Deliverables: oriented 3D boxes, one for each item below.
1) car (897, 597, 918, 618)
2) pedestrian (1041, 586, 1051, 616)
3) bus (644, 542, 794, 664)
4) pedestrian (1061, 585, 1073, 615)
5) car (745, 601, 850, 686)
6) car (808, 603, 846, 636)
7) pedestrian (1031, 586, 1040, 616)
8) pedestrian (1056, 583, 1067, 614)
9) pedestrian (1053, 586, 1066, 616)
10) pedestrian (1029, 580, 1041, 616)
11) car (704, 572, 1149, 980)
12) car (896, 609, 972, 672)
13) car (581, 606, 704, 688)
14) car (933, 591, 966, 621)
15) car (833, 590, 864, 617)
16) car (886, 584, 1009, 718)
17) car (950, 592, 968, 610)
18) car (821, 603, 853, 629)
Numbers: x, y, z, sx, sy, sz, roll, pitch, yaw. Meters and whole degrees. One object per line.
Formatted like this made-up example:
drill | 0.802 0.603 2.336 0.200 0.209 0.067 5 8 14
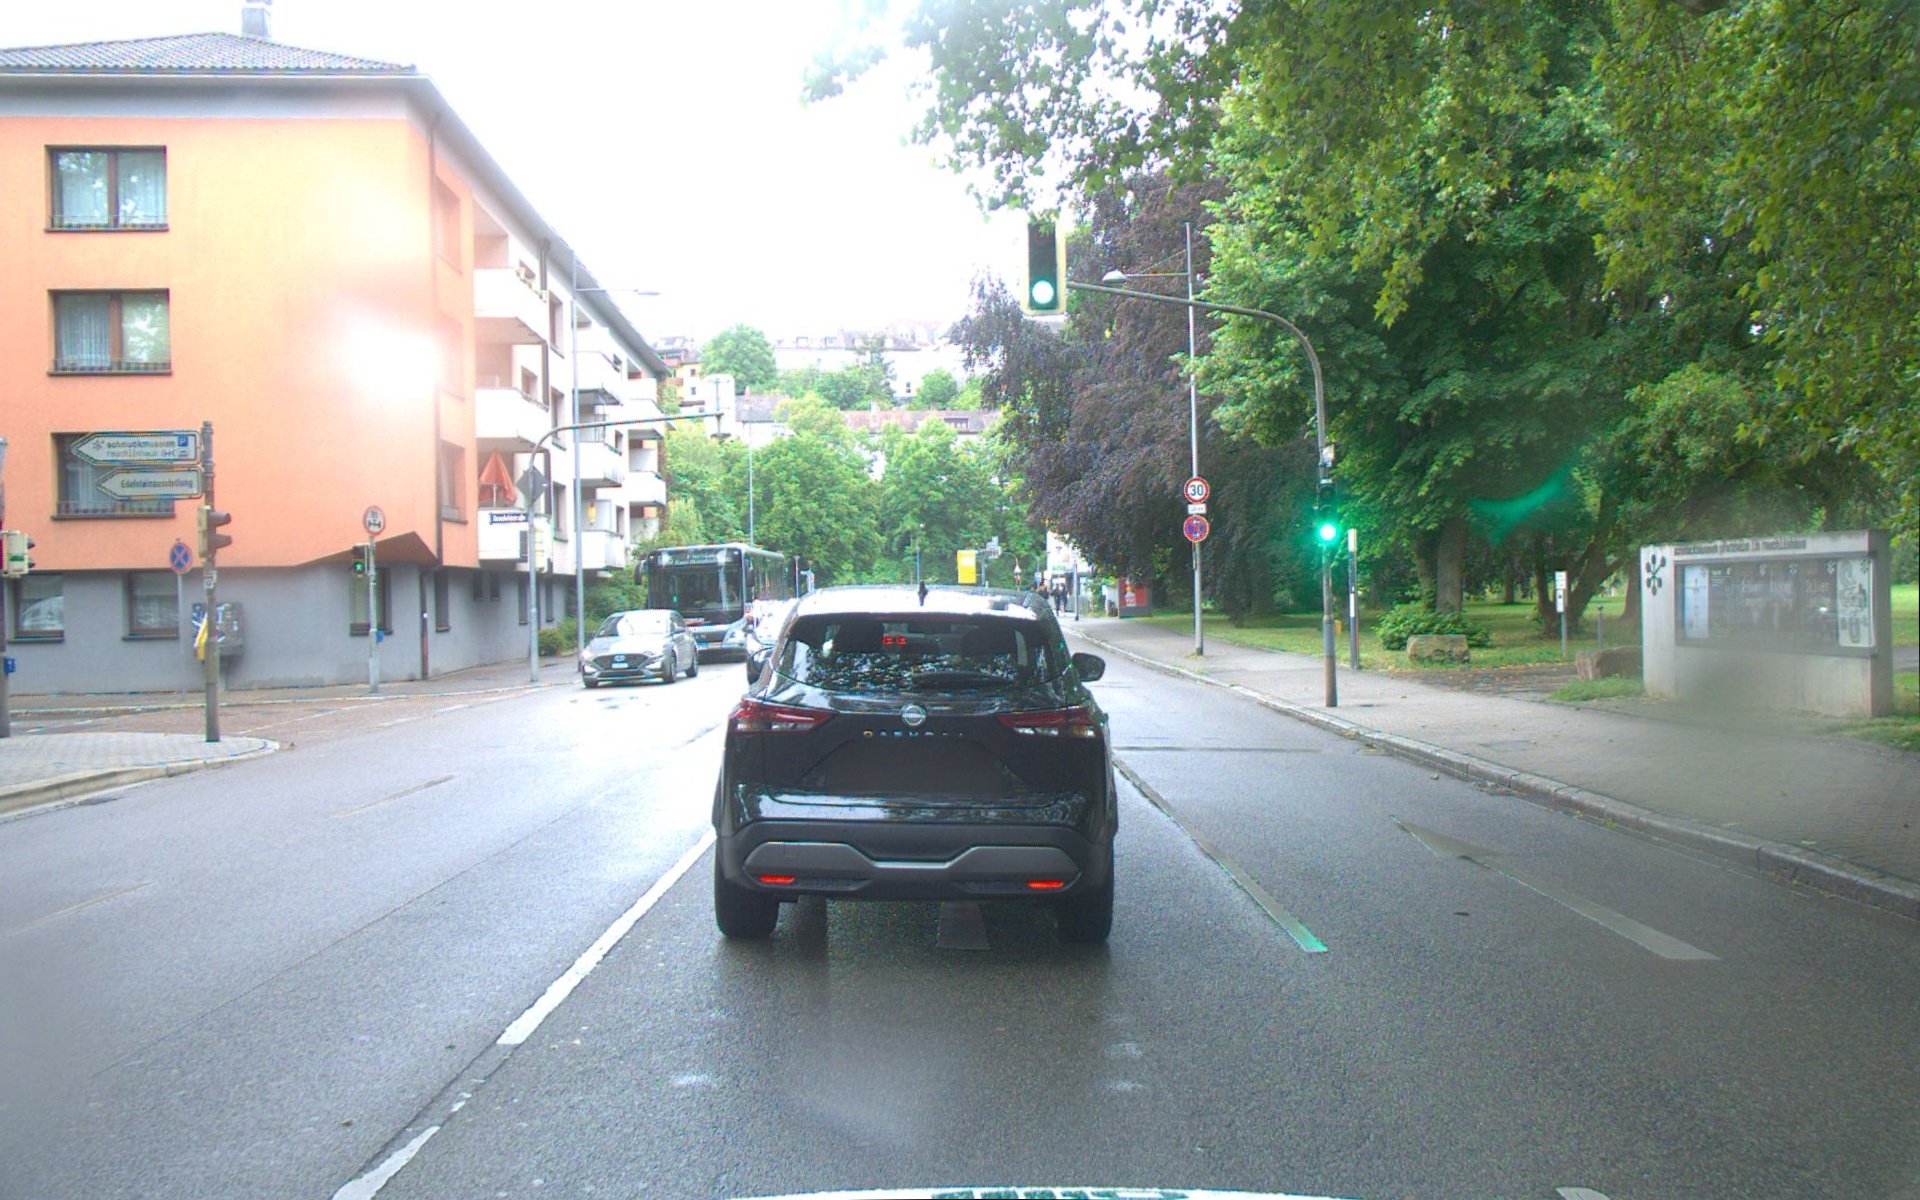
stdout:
car | -4.577 0.626 144.458 1.728 1.788 3.634 -2 0 0
pedestrian | 4.875 0.047 93.888 0.533 1.680 0.490 1 -1 0
bus | -6.677 0.093 47.718 2.710 3.026 11.779 -1 0 -1
pedestrian | 6.534 0.019 100.958 0.606 1.810 0.778 -2 0 -1
car | -2.999 0.780 31.076 1.591 1.439 3.454 -2 0 0
car | -6.675 0.952 83.322 1.643 1.495 4.215 -3 0 -2
pedestrian | 4.293 0.036 93.761 0.465 1.680 0.490 1 -1 0
pedestrian | 5.645 -0.079 91.924 0.504 1.684 0.550 1 -1 -1
pedestrian | 5.642 0.061 94.074 0.685 1.680 0.628 1 -1 0
pedestrian | 4.736 -0.136 104.614 0.752 2.222 0.711 1 -1 2
car | -0.160 0.729 8.668 1.769 1.618 3.999 1 -1 -1
car | -0.675 0.957 40.852 1.772 1.442 4.029 0 0 -2
car | -6.381 0.897 33.598 1.772 1.441 4.029 -3 0 -2
car | -0.525 0.292 82.945 1.591 1.439 3.454 -2 0 0
car | -7.190 0.221 106.867 1.714 1.662 3.634 -2 0 0
car | -0.136 0.677 24.102 1.588 1.738 3.771 -2 0 1
car | -0.123 0.058 159.217 1.714 1.662 3.634 -2 0 0
car | -7.002 0.899 94.406 1.643 1.318 3.750 -3 0 -2
